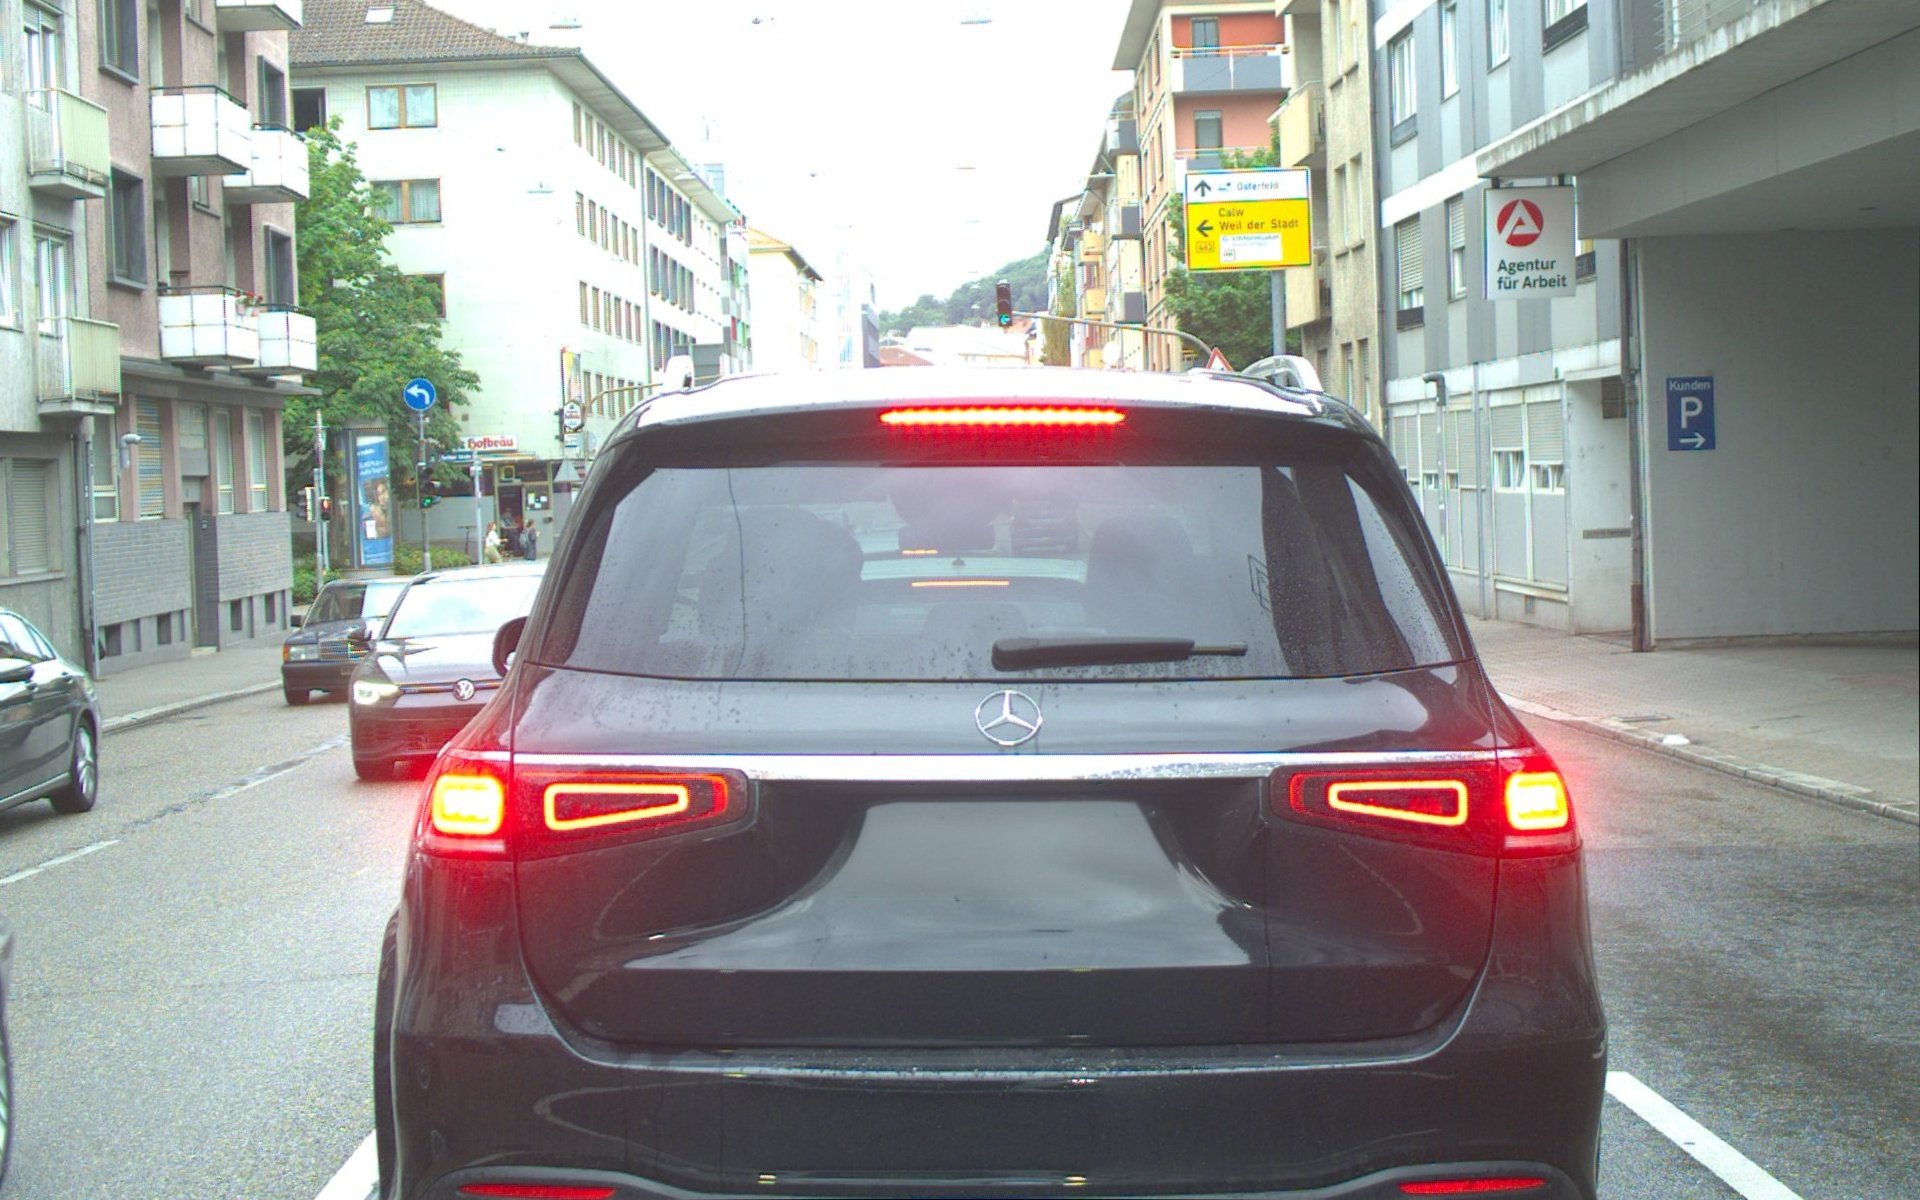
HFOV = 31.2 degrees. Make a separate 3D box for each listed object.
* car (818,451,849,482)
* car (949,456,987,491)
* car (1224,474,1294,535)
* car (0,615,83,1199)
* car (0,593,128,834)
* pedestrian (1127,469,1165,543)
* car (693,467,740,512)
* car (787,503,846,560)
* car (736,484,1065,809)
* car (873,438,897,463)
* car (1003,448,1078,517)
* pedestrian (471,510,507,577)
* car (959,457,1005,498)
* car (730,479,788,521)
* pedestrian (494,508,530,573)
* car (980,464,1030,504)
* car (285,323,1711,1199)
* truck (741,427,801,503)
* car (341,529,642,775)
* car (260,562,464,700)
[{"bbox_3d":[-7.142,-7.490,193.636,1.618,1.534,4.218,-3,1,-3],"label":"car"},{"bbox_3d":[0.394,-6.335,172.765,1.618,1.534,4.218,-3,1,-3],"label":"car"},{"bbox_3d":[8.223,-2.625,94.609,1.671,1.583,3.330,-2,1,2],"label":"car"},{"bbox_3d":[-3.095,0.784,6.551,1.695,1.365,4.218,-4,0,0],"label":"car"},{"bbox_3d":[-6.489,0.718,21.240,1.694,1.365,4.367,-4,1,-2],"label":"car"},{"bbox_3d":[5.132,-2.591,94.769,0.923,2.007,0.706,-2,1,-2],"label":"pedestrian"},{"bbox_3d":[-9.319,-4.205,131.591,1.618,1.534,4.218,-3,1,-3],"label":"car"},{"bbox_3d":[-4.231,-1.990,101.222,1.618,1.534,4.218,-3,1,-3],"label":"car"},{"bbox_3d":[-0.424,0.234,20.837,1.751,1.725,4.218,-1,1,-3],"label":"car"},{"bbox_3d":[-5.466,-10.867,250.139,1.618,1.534,4.218,-3,1,-3],"label":"car"},{"bbox_3d":[2.267,-3.316,97.648,1.723,1.754,4.218,-3,1,-3],"label":"car"},{"bbox_3d":[-12.701,-1.528,92.737,0.636,1.758,0.773,-2,1,16],"label":"pedestrian"},{"bbox_3d":[0.917,-5.144,144.645,1.618,1.534,4.218,-3,1,-3],"label":"car"},{"bbox_3d":[-6.990,-3.468,119.840,1.885,1.260,4.218,-3,1,-3],"label":"car"},{"bbox_3d":[-13.302,-1.778,102.010,0.923,1.895,0.706,-2,1,-2],"label":"pedestrian"},{"bbox_3d":[1.727,-4.478,133.159,1.618,1.382,4.218,-3,1,-3],"label":"car"},{"bbox_3d":[0.026,0.503,7.023,1.985,1.799,4.390,1,1,-1],"label":"car"},{"bbox_3d":[-8.612,-6.099,157.008,2.479,3.035,9.921,-3,1,-3],"label":"truck"},{"bbox_3d":[-3.387,0.346,25.549,1.694,1.575,4.218,-4,0,-2],"label":"car"},{"bbox_3d":[-6.789,0.313,39.402,1.598,1.365,4.363,-4,1,-2],"label":"car"}]
